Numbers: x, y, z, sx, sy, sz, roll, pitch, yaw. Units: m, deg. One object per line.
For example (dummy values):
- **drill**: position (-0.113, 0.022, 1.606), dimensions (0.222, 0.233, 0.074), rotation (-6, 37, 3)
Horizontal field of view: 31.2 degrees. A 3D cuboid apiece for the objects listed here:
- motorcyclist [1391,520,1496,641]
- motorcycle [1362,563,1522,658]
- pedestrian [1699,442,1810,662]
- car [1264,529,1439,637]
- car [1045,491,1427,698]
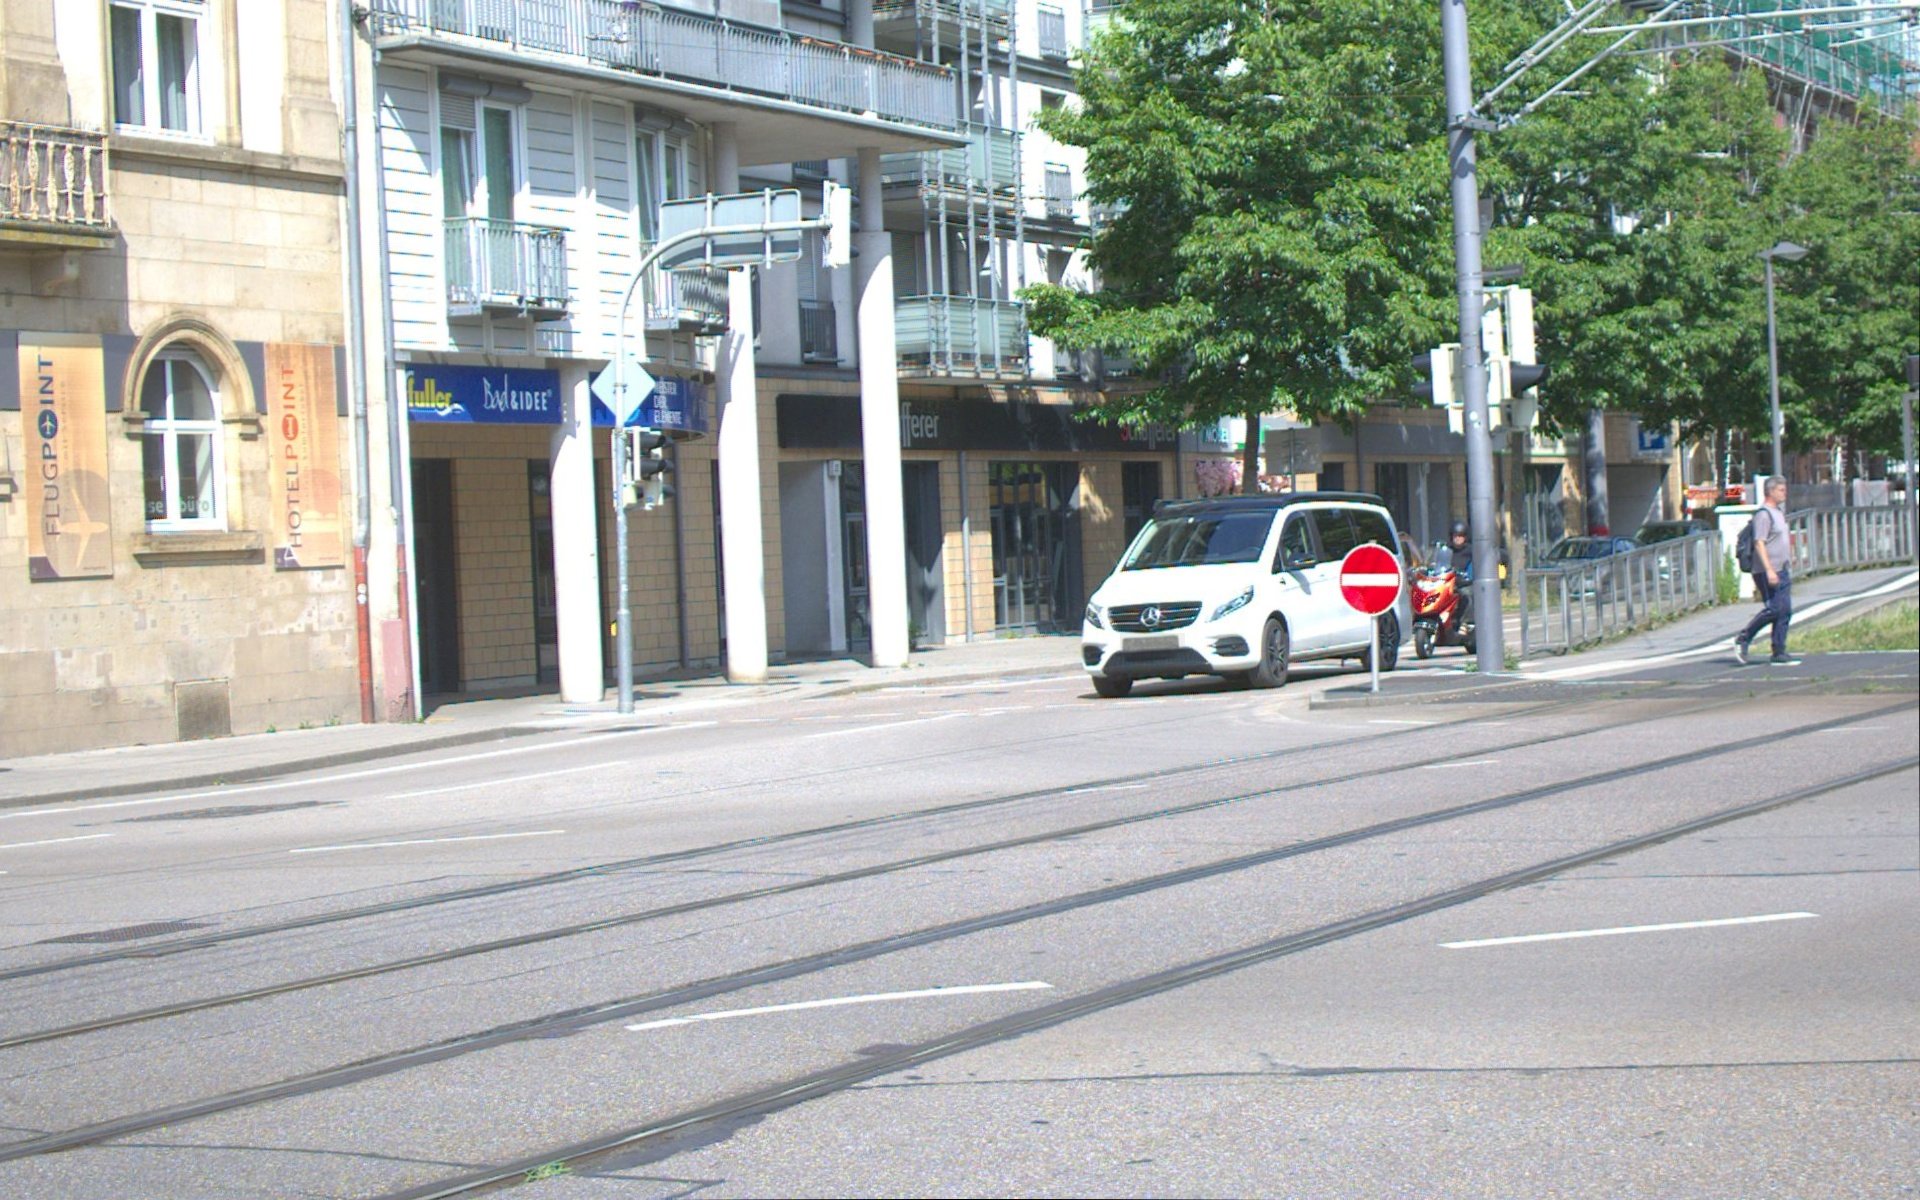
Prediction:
- **motorcyclist**: position (5.870, -0.240, 41.736), dimensions (0.895, 1.399, 1.086), rotation (-2, 1, 28)
- **motorcycle**: position (5.880, 0.110, 41.731), dimensions (0.895, 1.019, 3.097), rotation (-2, 1, 28)
- **pedestrian**: position (7.410, -0.448, 32.068), dimensions (0.739, 2.007, 0.702), rotation (-2, 1, 33)
- **car**: position (6.982, -0.337, 61.007), dimensions (1.849, 1.783, 3.995), rotation (1, 2, 26)
- **car**: position (2.939, -0.115, 35.328), dimensions (1.996, 1.885, 5.164), rotation (-2, 1, 28)
